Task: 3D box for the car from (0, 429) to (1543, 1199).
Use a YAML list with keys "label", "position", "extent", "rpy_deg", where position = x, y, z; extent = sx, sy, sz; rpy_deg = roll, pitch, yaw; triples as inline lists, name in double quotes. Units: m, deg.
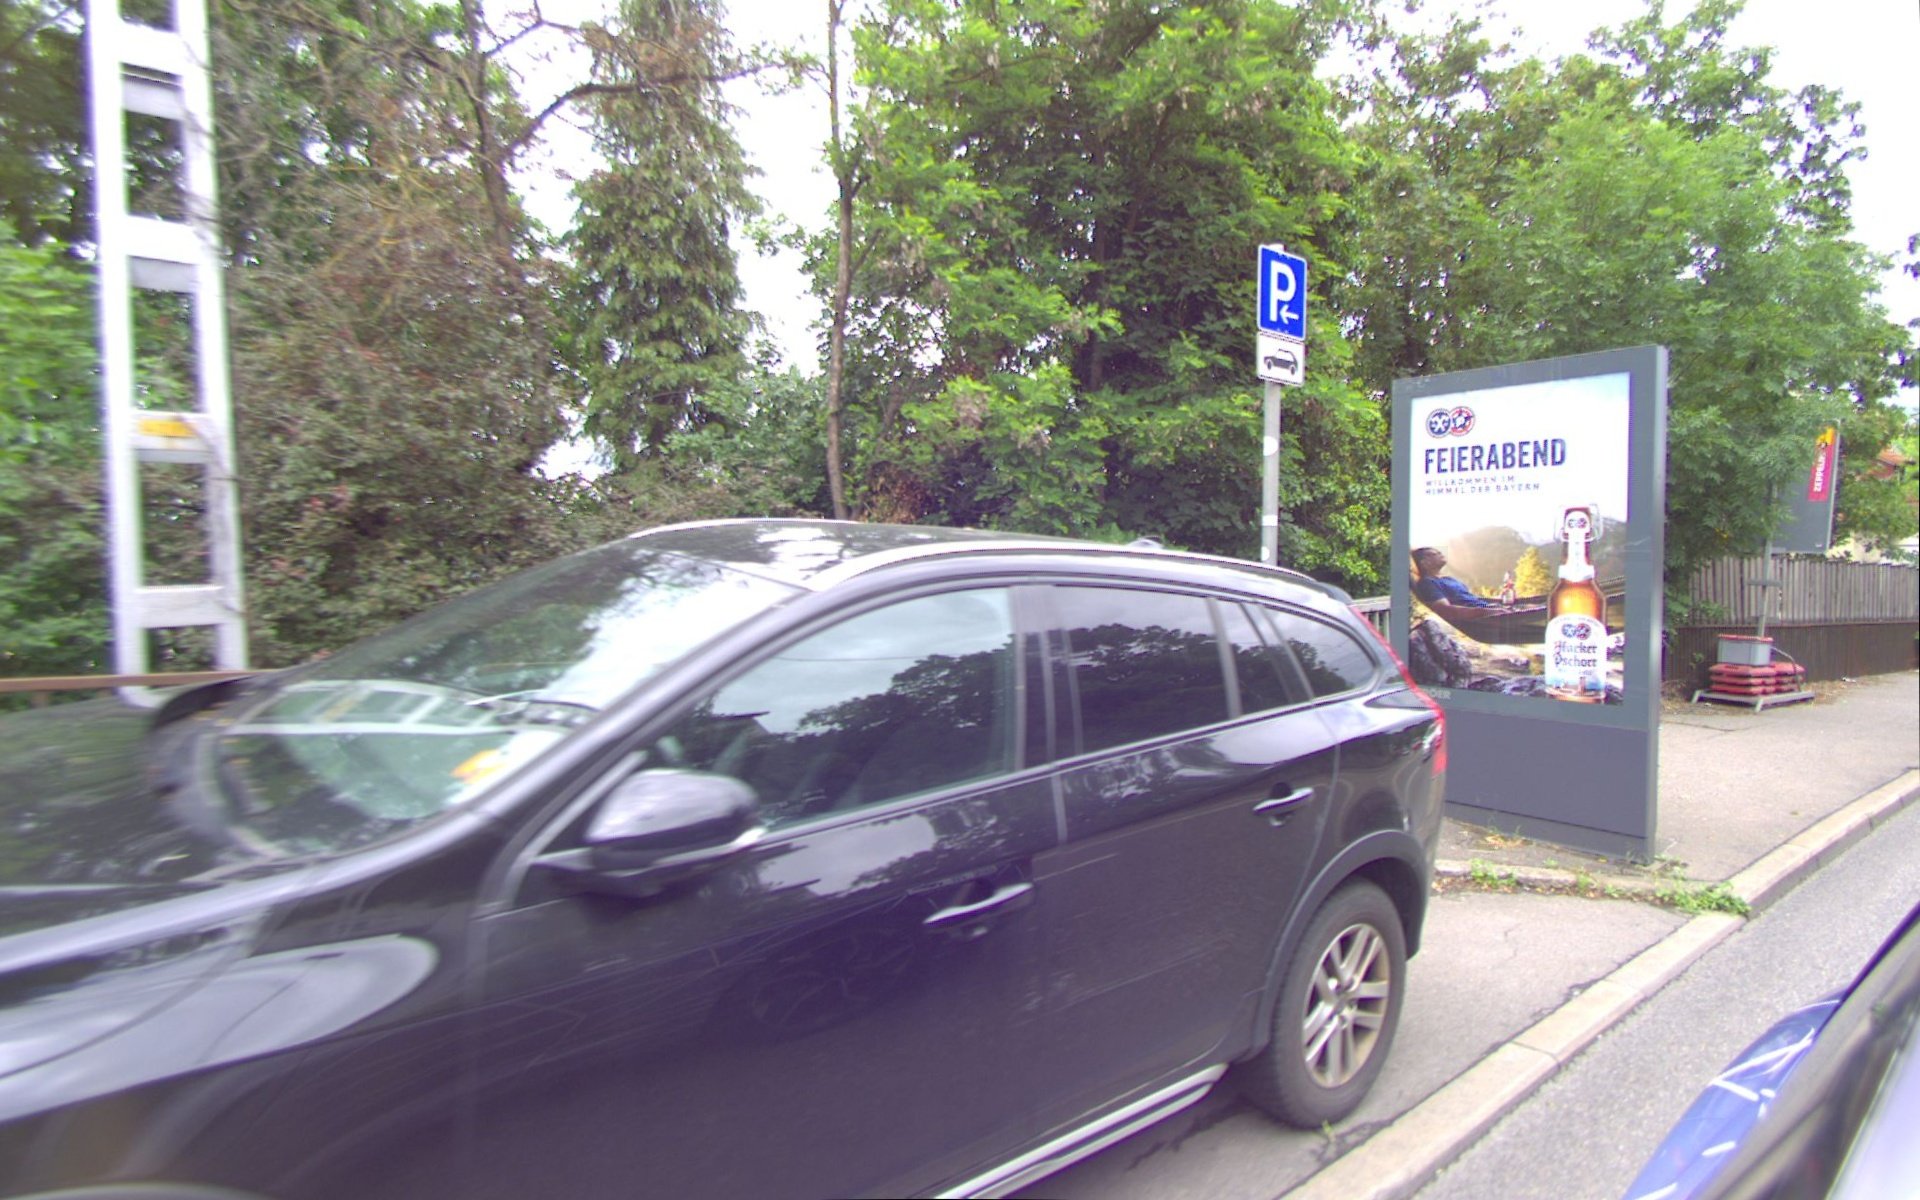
- label: "car"
  position: [-0.484, 0.514, 2.504]
  extent: [4.313, 1.539, 1.771]
  rpy_deg: [0, 6, -39]
